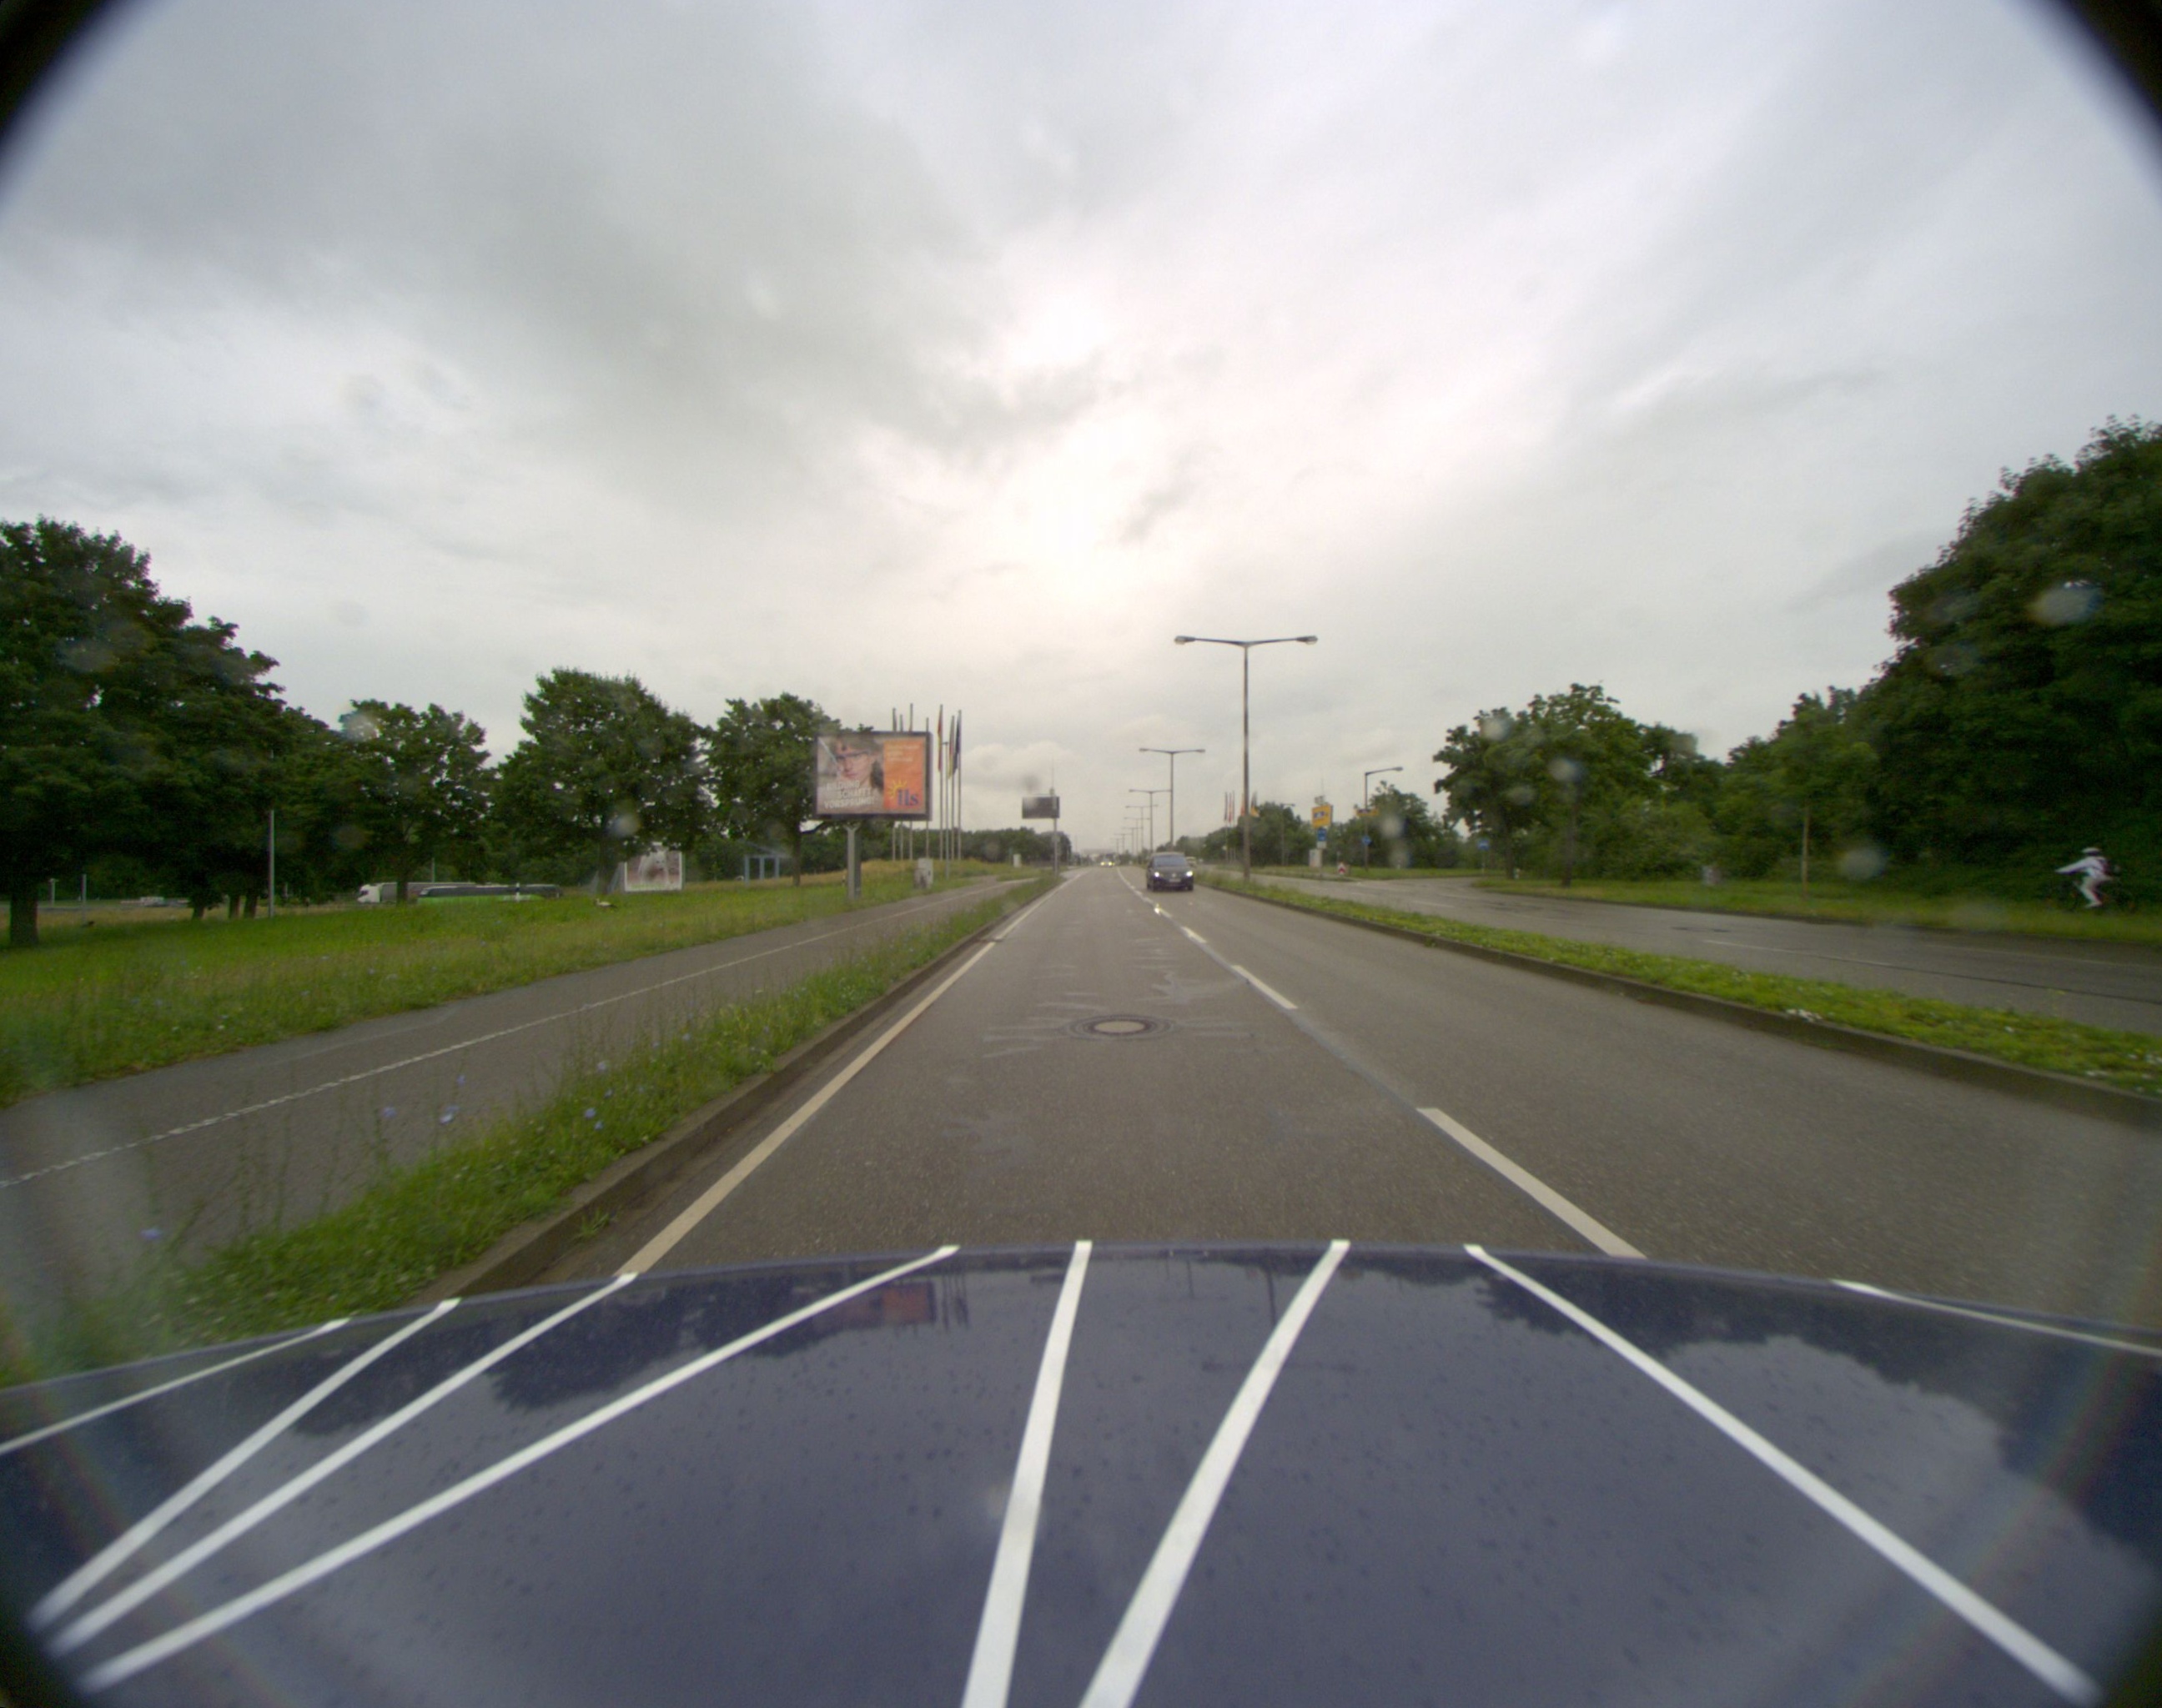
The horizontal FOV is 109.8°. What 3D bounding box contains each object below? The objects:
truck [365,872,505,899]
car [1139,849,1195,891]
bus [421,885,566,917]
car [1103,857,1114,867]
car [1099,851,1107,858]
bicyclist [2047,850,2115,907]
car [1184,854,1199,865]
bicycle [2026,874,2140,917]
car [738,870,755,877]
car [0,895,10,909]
[{"bbox_3d":[-97.753,4.676,115.396,16.279,3.371,2.745,-2,0,-19],"label":"truck"},{"bbox_3d":[3.844,0.717,34.741,1.850,1.740,4.817,-2,-1,-2],"label":"car"},{"bbox_3d":[-71.827,5.671,93.638,2.757,2.665,14.610,-1,2,22],"label":"bus"},{"bbox_3d":[5.081,1.468,140.931,1.998,1.700,4.000,-1,0,0],"label":"car"},{"bbox_3d":[6.014,0.082,206.308,1.998,1.703,4.000,-1,0,1],"label":"car"},{"bbox_3d":[23.419,0.557,17.802,0.523,1.295,0.808,-2,1,2],"label":"bicyclist"},{"bbox_3d":[16.758,0.808,115.526,1.711,1.620,4.492,1,0,1],"label":"car"},{"bbox_3d":[23.431,0.948,17.810,0.523,0.880,1.633,-2,0,2],"label":"bicycle"},{"bbox_3d":[-93.942,5.464,213.653,4.007,1.622,1.995,-2,0,-34],"label":"car"},{"bbox_3d":[-145.415,6.471,100.494,4.003,1.820,1.838,-2,0,-20],"label":"car"}]
